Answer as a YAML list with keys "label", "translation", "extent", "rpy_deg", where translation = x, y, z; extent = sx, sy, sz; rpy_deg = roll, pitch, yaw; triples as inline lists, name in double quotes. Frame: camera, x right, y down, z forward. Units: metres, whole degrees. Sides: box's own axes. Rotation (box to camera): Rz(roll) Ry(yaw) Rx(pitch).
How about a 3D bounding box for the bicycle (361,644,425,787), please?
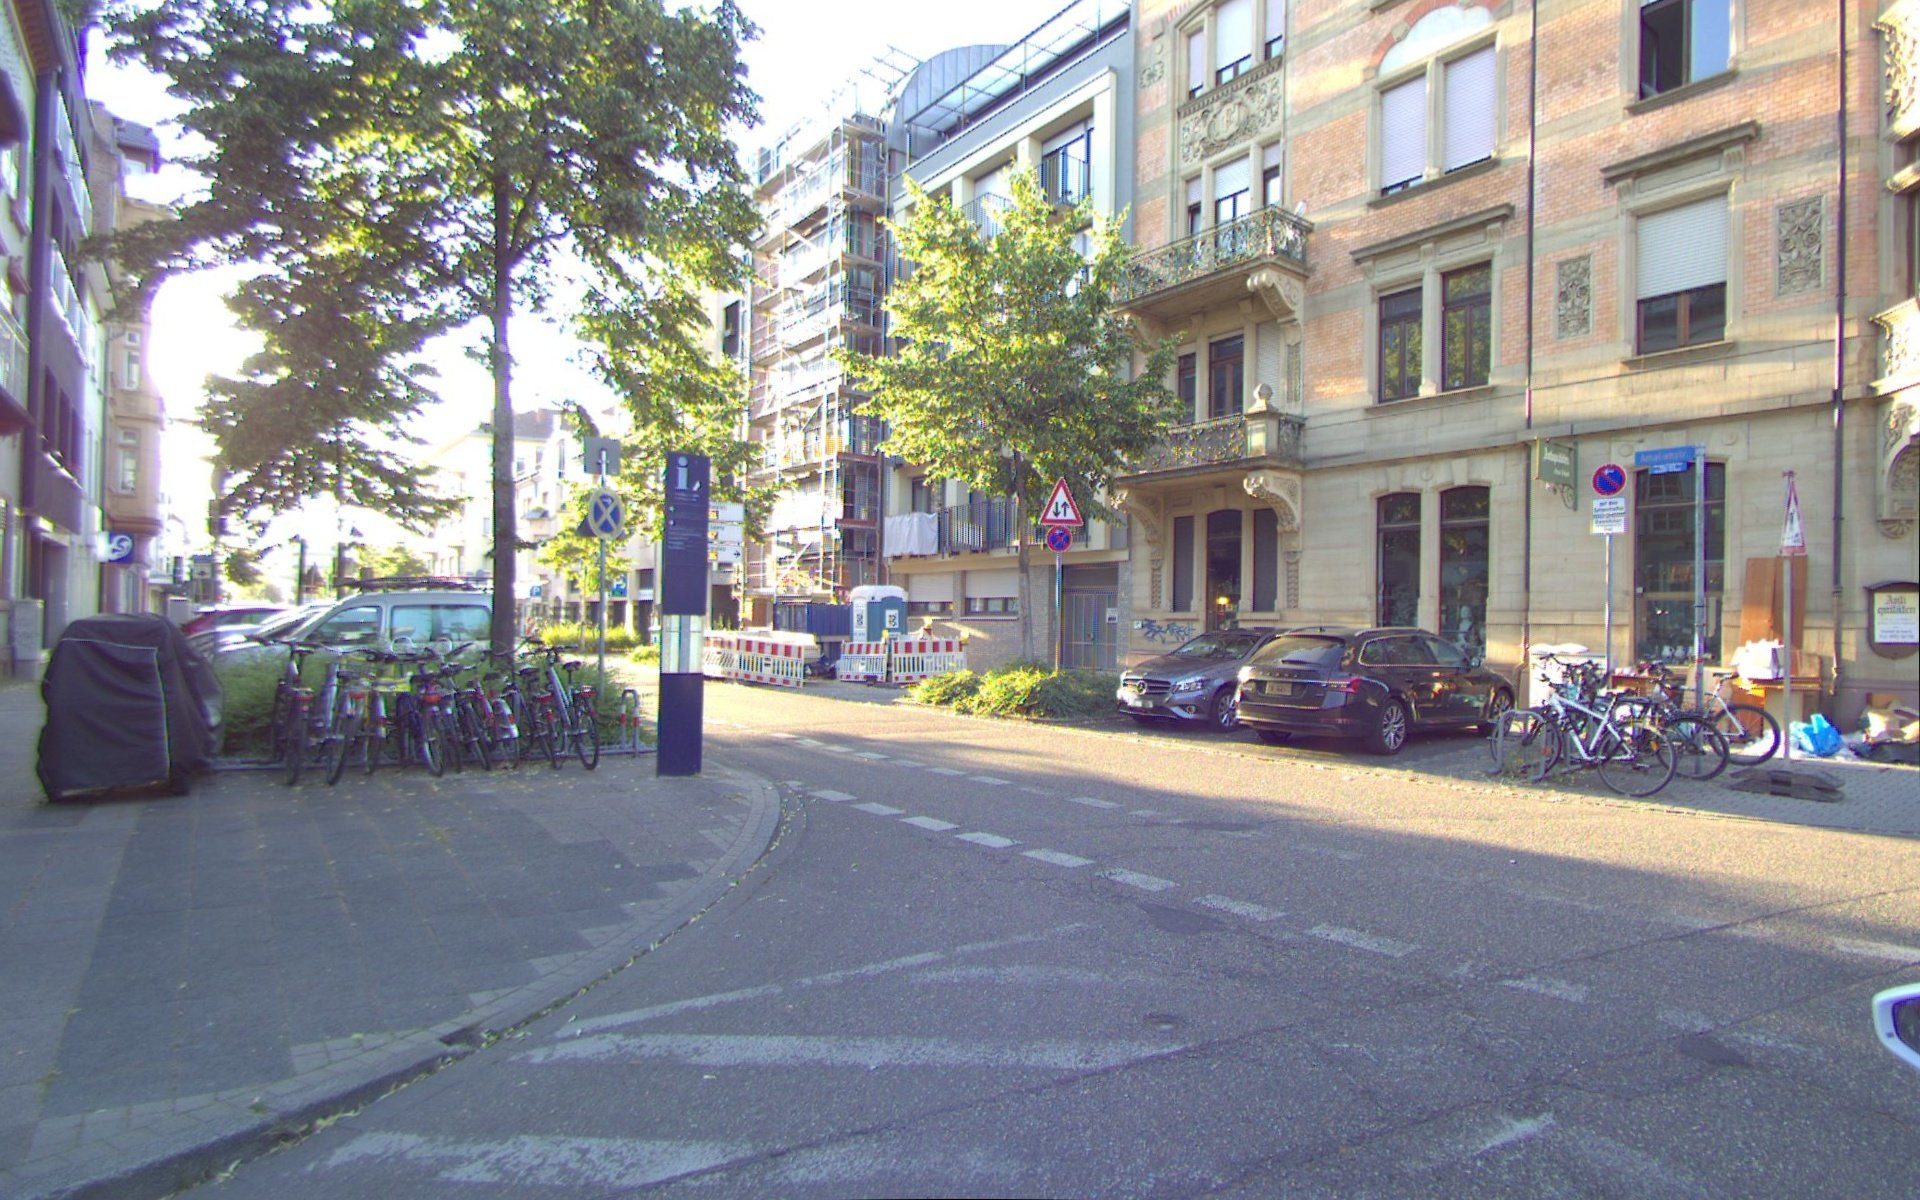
- label: "bicycle"
  translation: [-4.933, 0.945, 8.708]
  extent: [0.338, 1.096, 1.581]
  rpy_deg: [1, -1, -34]

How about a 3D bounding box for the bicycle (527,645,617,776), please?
- label: "bicycle"
  translation: [-3.780, 1.019, 9.713]
  extent: [0.392, 1.122, 1.696]
  rpy_deg: [4, -3, -34]

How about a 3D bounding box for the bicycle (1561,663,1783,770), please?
- label: "bicycle"
  translation: [8.277, 1.314, 11.788]
  extent: [0.461, 1.054, 2.087]
  rpy_deg: [1, -1, -37]

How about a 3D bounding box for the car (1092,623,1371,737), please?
- label: "car"
  translation: [4.288, 1.118, 15.546]
  extent: [4.499, 1.499, 1.848]
  rpy_deg: [1, -1, -37]

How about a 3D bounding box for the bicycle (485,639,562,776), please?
- label: "bicycle"
  translation: [-4.158, 0.976, 9.519]
  extent: [0.328, 1.155, 1.581]
  rpy_deg: [4, -3, -34]

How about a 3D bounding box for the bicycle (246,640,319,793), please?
- label: "bicycle"
  translation: [-5.522, 0.897, 8.199]
  extent: [0.392, 1.096, 1.581]
  rpy_deg: [4, -3, -34]

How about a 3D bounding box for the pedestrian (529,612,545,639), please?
- label: "pedestrian"
  translation: [-25.758, 1.555, 61.171]
  extent: [0.805, 1.668, 0.600]
  rpy_deg: [0, -1, -37]

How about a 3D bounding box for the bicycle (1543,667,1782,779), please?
- label: "bicycle"
  translation: [7.732, 1.310, 11.163]
  extent: [0.634, 1.027, 2.087]
  rpy_deg: [1, -1, -38]

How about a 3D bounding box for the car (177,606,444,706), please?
- label: "car"
  translation: [-10.858, 0.910, 17.042]
  extent: [3.621, 1.535, 1.635]
  rpy_deg: [2, -1, -32]

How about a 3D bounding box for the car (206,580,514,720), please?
- label: "car"
  translation: [-8.939, 0.734, 15.188]
  extent: [3.783, 1.874, 1.684]
  rpy_deg: [2, -2, -34]

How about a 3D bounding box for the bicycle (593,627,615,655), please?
- label: "bicycle"
  translation: [-15.466, 1.774, 43.615]
  extent: [0.380, 1.205, 1.505]
  rpy_deg: [3, -3, -40]

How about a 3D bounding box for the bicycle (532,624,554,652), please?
- label: "bicycle"
  translation: [-16.962, 1.527, 40.812]
  extent: [0.380, 1.115, 1.505]
  rpy_deg: [2, -1, -39]

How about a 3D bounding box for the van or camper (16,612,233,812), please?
- label: "van or camper"
  translation: [-6.082, 0.752, 7.446]
  extent: [0.934, 1.276, 1.829]
  rpy_deg: [3, -3, -32]

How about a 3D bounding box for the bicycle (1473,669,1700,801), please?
- label: "bicycle"
  translation: [6.044, 1.261, 9.799]
  extent: [0.565, 1.061, 1.815]
  rpy_deg: [1, -1, -34]

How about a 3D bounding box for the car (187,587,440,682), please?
- label: "car"
  translation: [-12.050, 0.695, 18.922]
  extent: [3.799, 1.606, 1.725]
  rpy_deg: [3, -3, -34]

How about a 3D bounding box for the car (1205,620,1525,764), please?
- label: "car"
  translation: [5.426, 1.052, 13.207]
  extent: [4.499, 1.531, 1.891]
  rpy_deg: [0, -1, -37]

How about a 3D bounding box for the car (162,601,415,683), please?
- label: "car"
  translation: [-13.866, 0.849, 20.877]
  extent: [4.188, 1.536, 1.742]
  rpy_deg: [2, -2, -40]

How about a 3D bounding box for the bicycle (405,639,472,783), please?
- label: "bicycle"
  translation: [-4.676, 0.936, 8.972]
  extent: [0.310, 1.163, 1.597]
  rpy_deg: [2, -3, -34]

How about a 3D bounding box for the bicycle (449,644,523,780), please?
- label: "bicycle"
  translation: [-4.370, 0.982, 9.219]
  extent: [0.317, 1.096, 1.581]
  rpy_deg: [4, -3, -34]

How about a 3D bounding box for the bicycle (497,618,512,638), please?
- label: "bicycle"
  translation: [-28.015, 1.710, 61.819]
  extent: [0.395, 1.251, 1.805]
  rpy_deg: [1, -1, -39]

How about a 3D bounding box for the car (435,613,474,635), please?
- label: "car"
  translation: [-33.531, 1.601, 66.571]
  extent: [1.624, 1.443, 3.718]
  rpy_deg: [1, -2, -37]

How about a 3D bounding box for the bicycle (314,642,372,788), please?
- label: "bicycle"
  translation: [-5.227, 0.919, 8.487]
  extent: [0.320, 1.096, 1.581]
  rpy_deg: [2, -2, -34]

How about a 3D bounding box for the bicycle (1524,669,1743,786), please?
- label: "bicycle"
  translation: [7.020, 1.284, 10.555]
  extent: [0.634, 1.027, 1.812]
  rpy_deg: [1, -1, -38]
